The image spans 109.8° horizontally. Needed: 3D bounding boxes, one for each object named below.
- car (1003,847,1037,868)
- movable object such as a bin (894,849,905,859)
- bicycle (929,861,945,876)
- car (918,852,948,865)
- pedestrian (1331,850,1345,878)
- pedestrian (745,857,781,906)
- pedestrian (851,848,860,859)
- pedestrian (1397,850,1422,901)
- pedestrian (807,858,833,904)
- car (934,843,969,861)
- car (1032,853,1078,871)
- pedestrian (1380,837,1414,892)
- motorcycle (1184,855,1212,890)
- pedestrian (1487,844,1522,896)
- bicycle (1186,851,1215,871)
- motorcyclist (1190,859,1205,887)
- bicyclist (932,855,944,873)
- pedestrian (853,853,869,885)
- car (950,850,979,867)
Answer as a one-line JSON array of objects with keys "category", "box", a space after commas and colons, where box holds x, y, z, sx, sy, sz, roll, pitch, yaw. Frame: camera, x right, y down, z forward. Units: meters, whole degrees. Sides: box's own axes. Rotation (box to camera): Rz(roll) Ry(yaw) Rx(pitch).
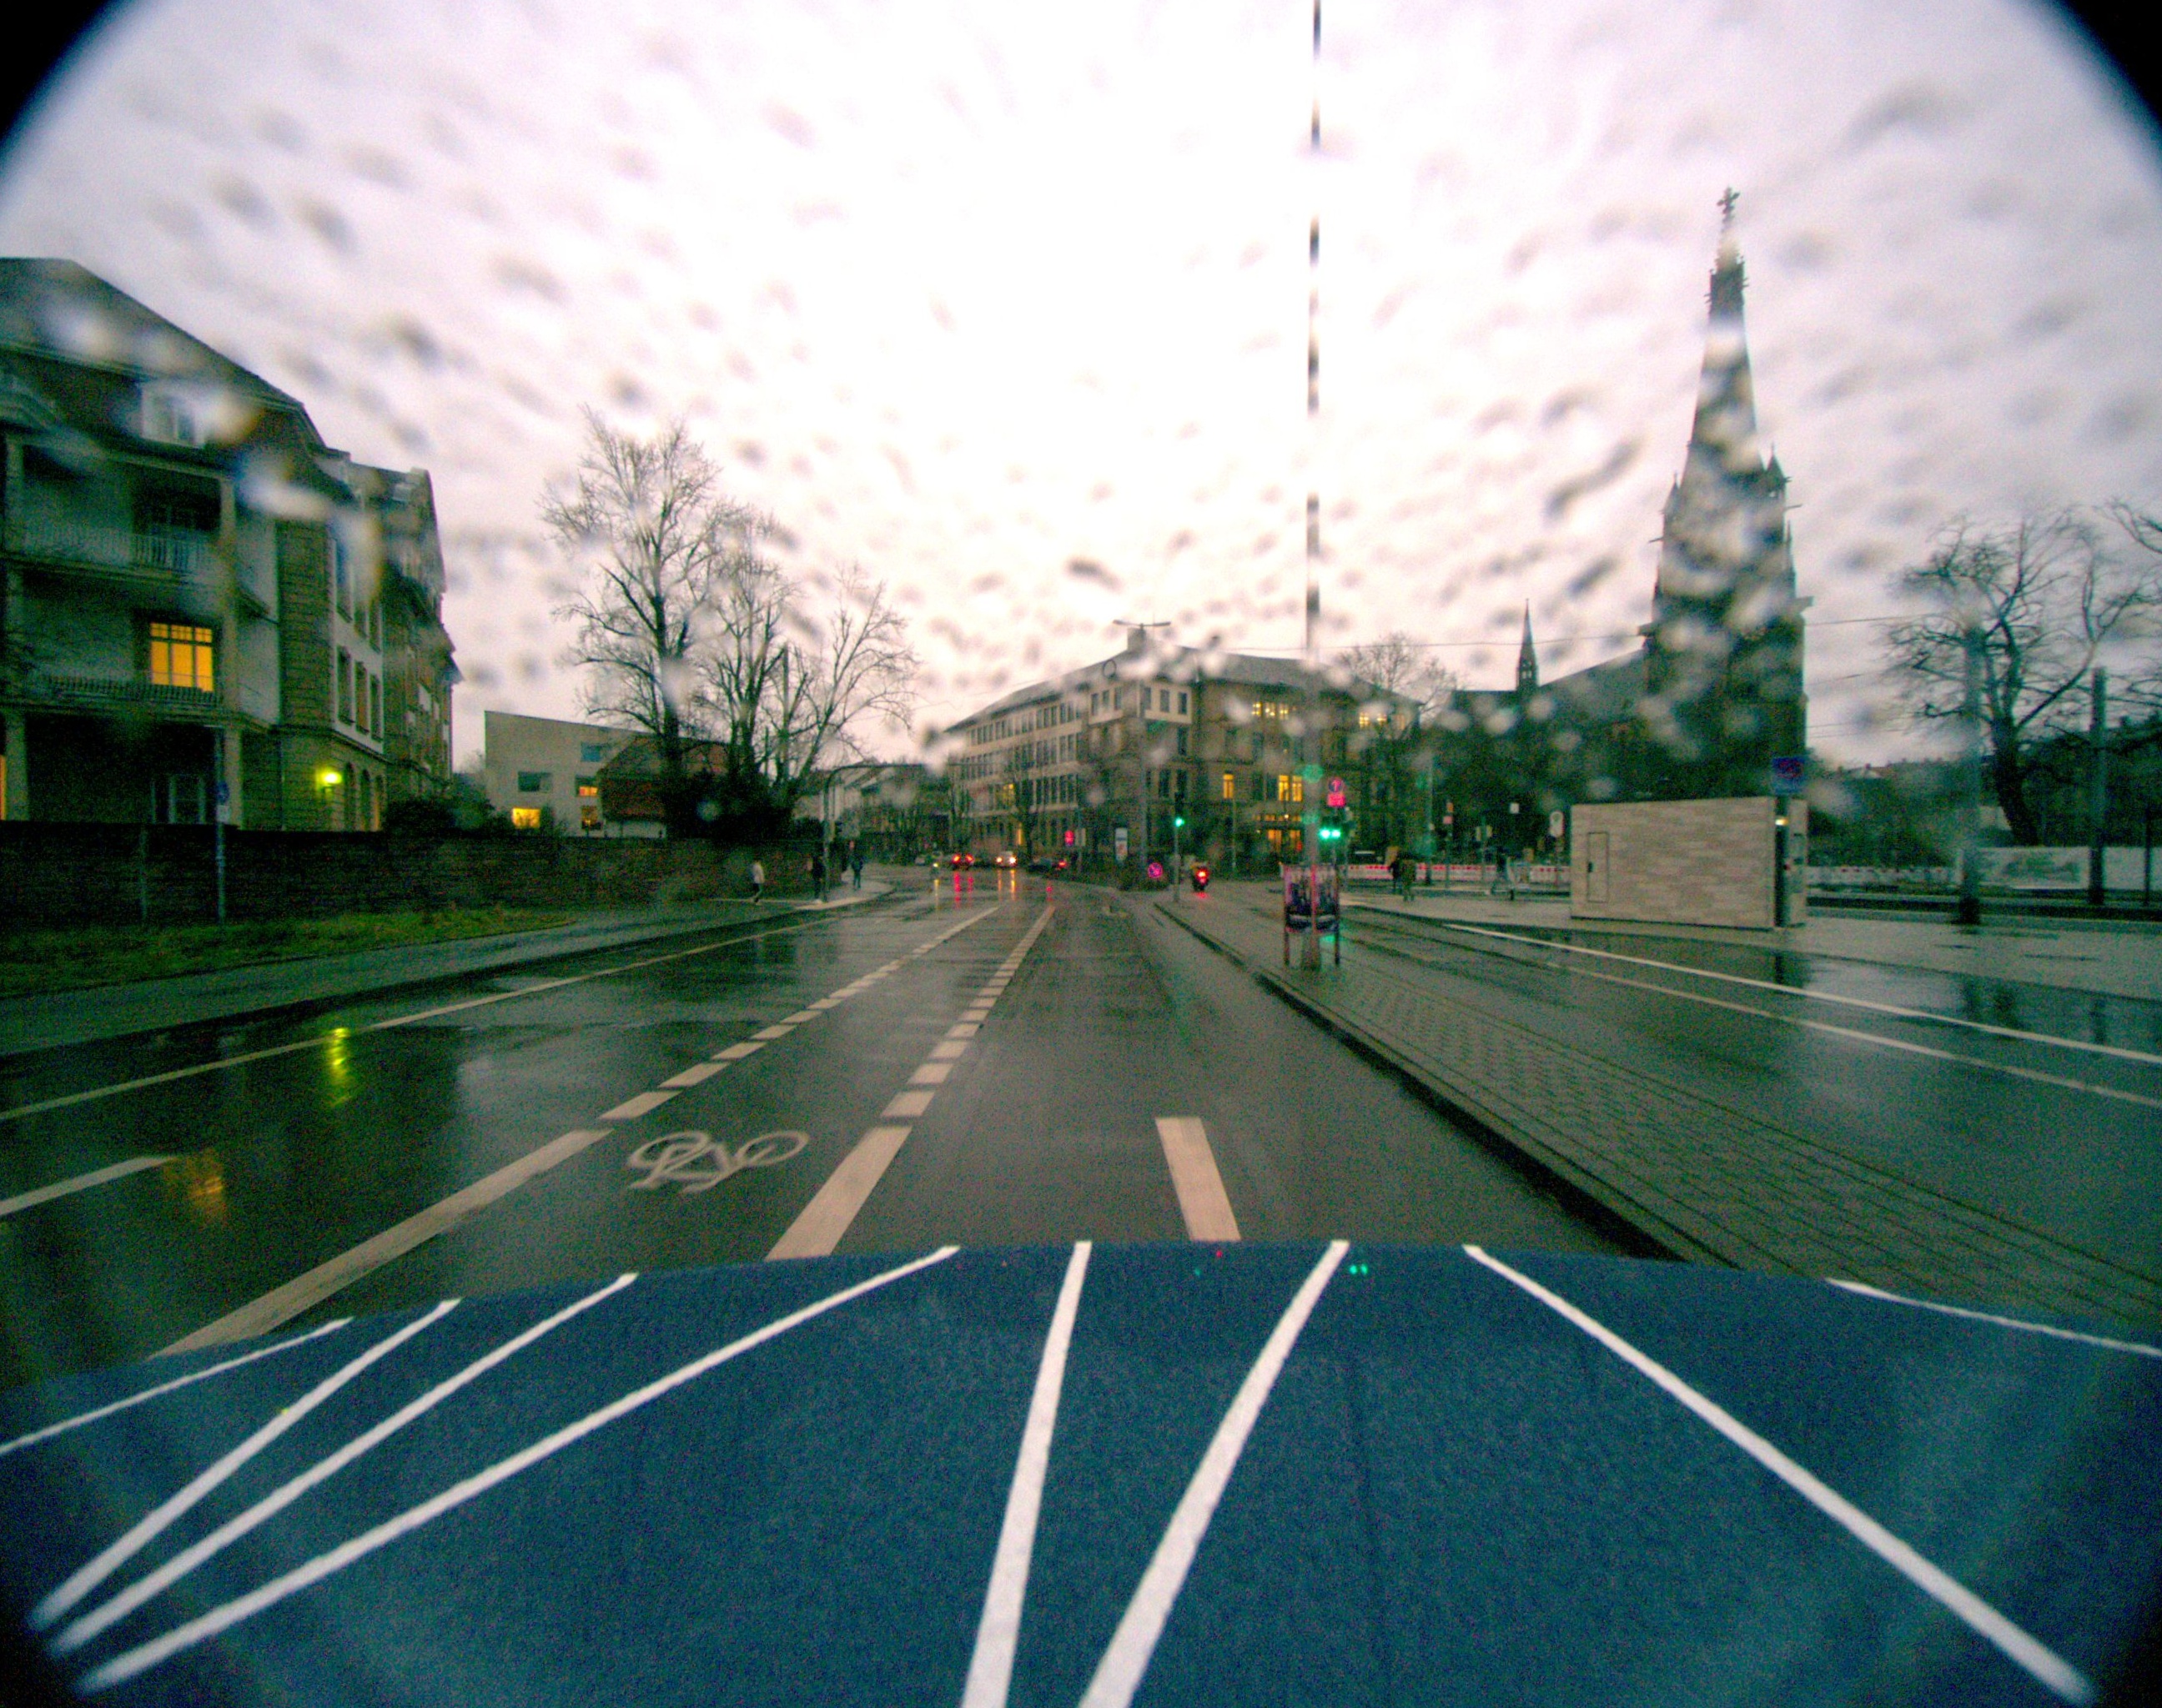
[{"category": "car", "box": [-6.619, 0.401, 82.683, 1.908, 2.022, 4.809, -1, 2, 19]}, {"category": "movable object such as a bin", "box": [-27.016, 0.038, 113.094, 1.341, 1.456, 0.987, -1, 3, 19]}, {"category": "bicycle", "box": [-10.961, 1.076, 57.889, 0.725, 1.084, 2.281, -2, 0, -23]}, {"category": "car", "box": [-20.265, 0.597, 103.939, 1.771, 1.582, 4.191, 0, 2, 27]}, {"category": "pedestrian", "box": [18.568, 0.689, 54.956, 0.740, 2.003, 0.646, 1, 4, 42]}, {"category": "pedestrian", "box": [-11.046, 0.937, 26.381, 0.964, 1.666, 0.777, 0, 1, -38]}, {"category": "pedestrian", "box": [-36.632, -0.047, 123.505, 0.945, 1.694, 0.925, 0, 3, 33]}, {"category": "pedestrian", "box": [11.131, 0.724, 25.745, 0.673, 1.665, 0.731, 0, 3, 32]}, {"category": "pedestrian", "box": [-9.682, 0.989, 28.212, 0.792, 1.666, 0.729, 1, 1, -12]}, {"category": "car", "box": [-16.870, -0.275, 98.901, 1.961, 2.042, 4.629, 0, 3, 29]}, {"category": "car", "box": [-2.166, 0.651, 62.494, 1.756, 1.370, 4.354, 1, 0, -34]}, {"category": "pedestrian", "box": [14.071, 0.460, 33.883, 0.996, 2.357, 1.063, -2, 3, -4]}, {"category": "motorcycle", "box": [5.197, 0.814, 33.867, 0.831, 1.488, 2.314, 0, 1, -1]}, {"category": "pedestrian", "box": [15.177, 0.564, 27.214, 0.605, 1.803, 0.824, -4, 1, -13]}, {"category": "bicycle", "box": [10.689, 0.603, 67.820, 2.424, 1.679, 0.714, -1, 3, 17]}, {"category": "motorcyclist", "box": [5.197, 0.837, 33.873, 0.537, 1.187, 0.610, -2, 3, -1]}, {"category": "bicyclist", "box": [-10.915, 0.758, 57.840, 0.718, 1.335, 0.718, -3, 3, -24]}, {"category": "pedestrian", "box": [-11.953, 0.813, 41.360, 0.808, 1.675, 1.155, 1, 0, -16]}, {"category": "car", "box": [-11.775, 0.401, 76.506, 1.762, 1.652, 4.521, 1, 0, -23]}]
